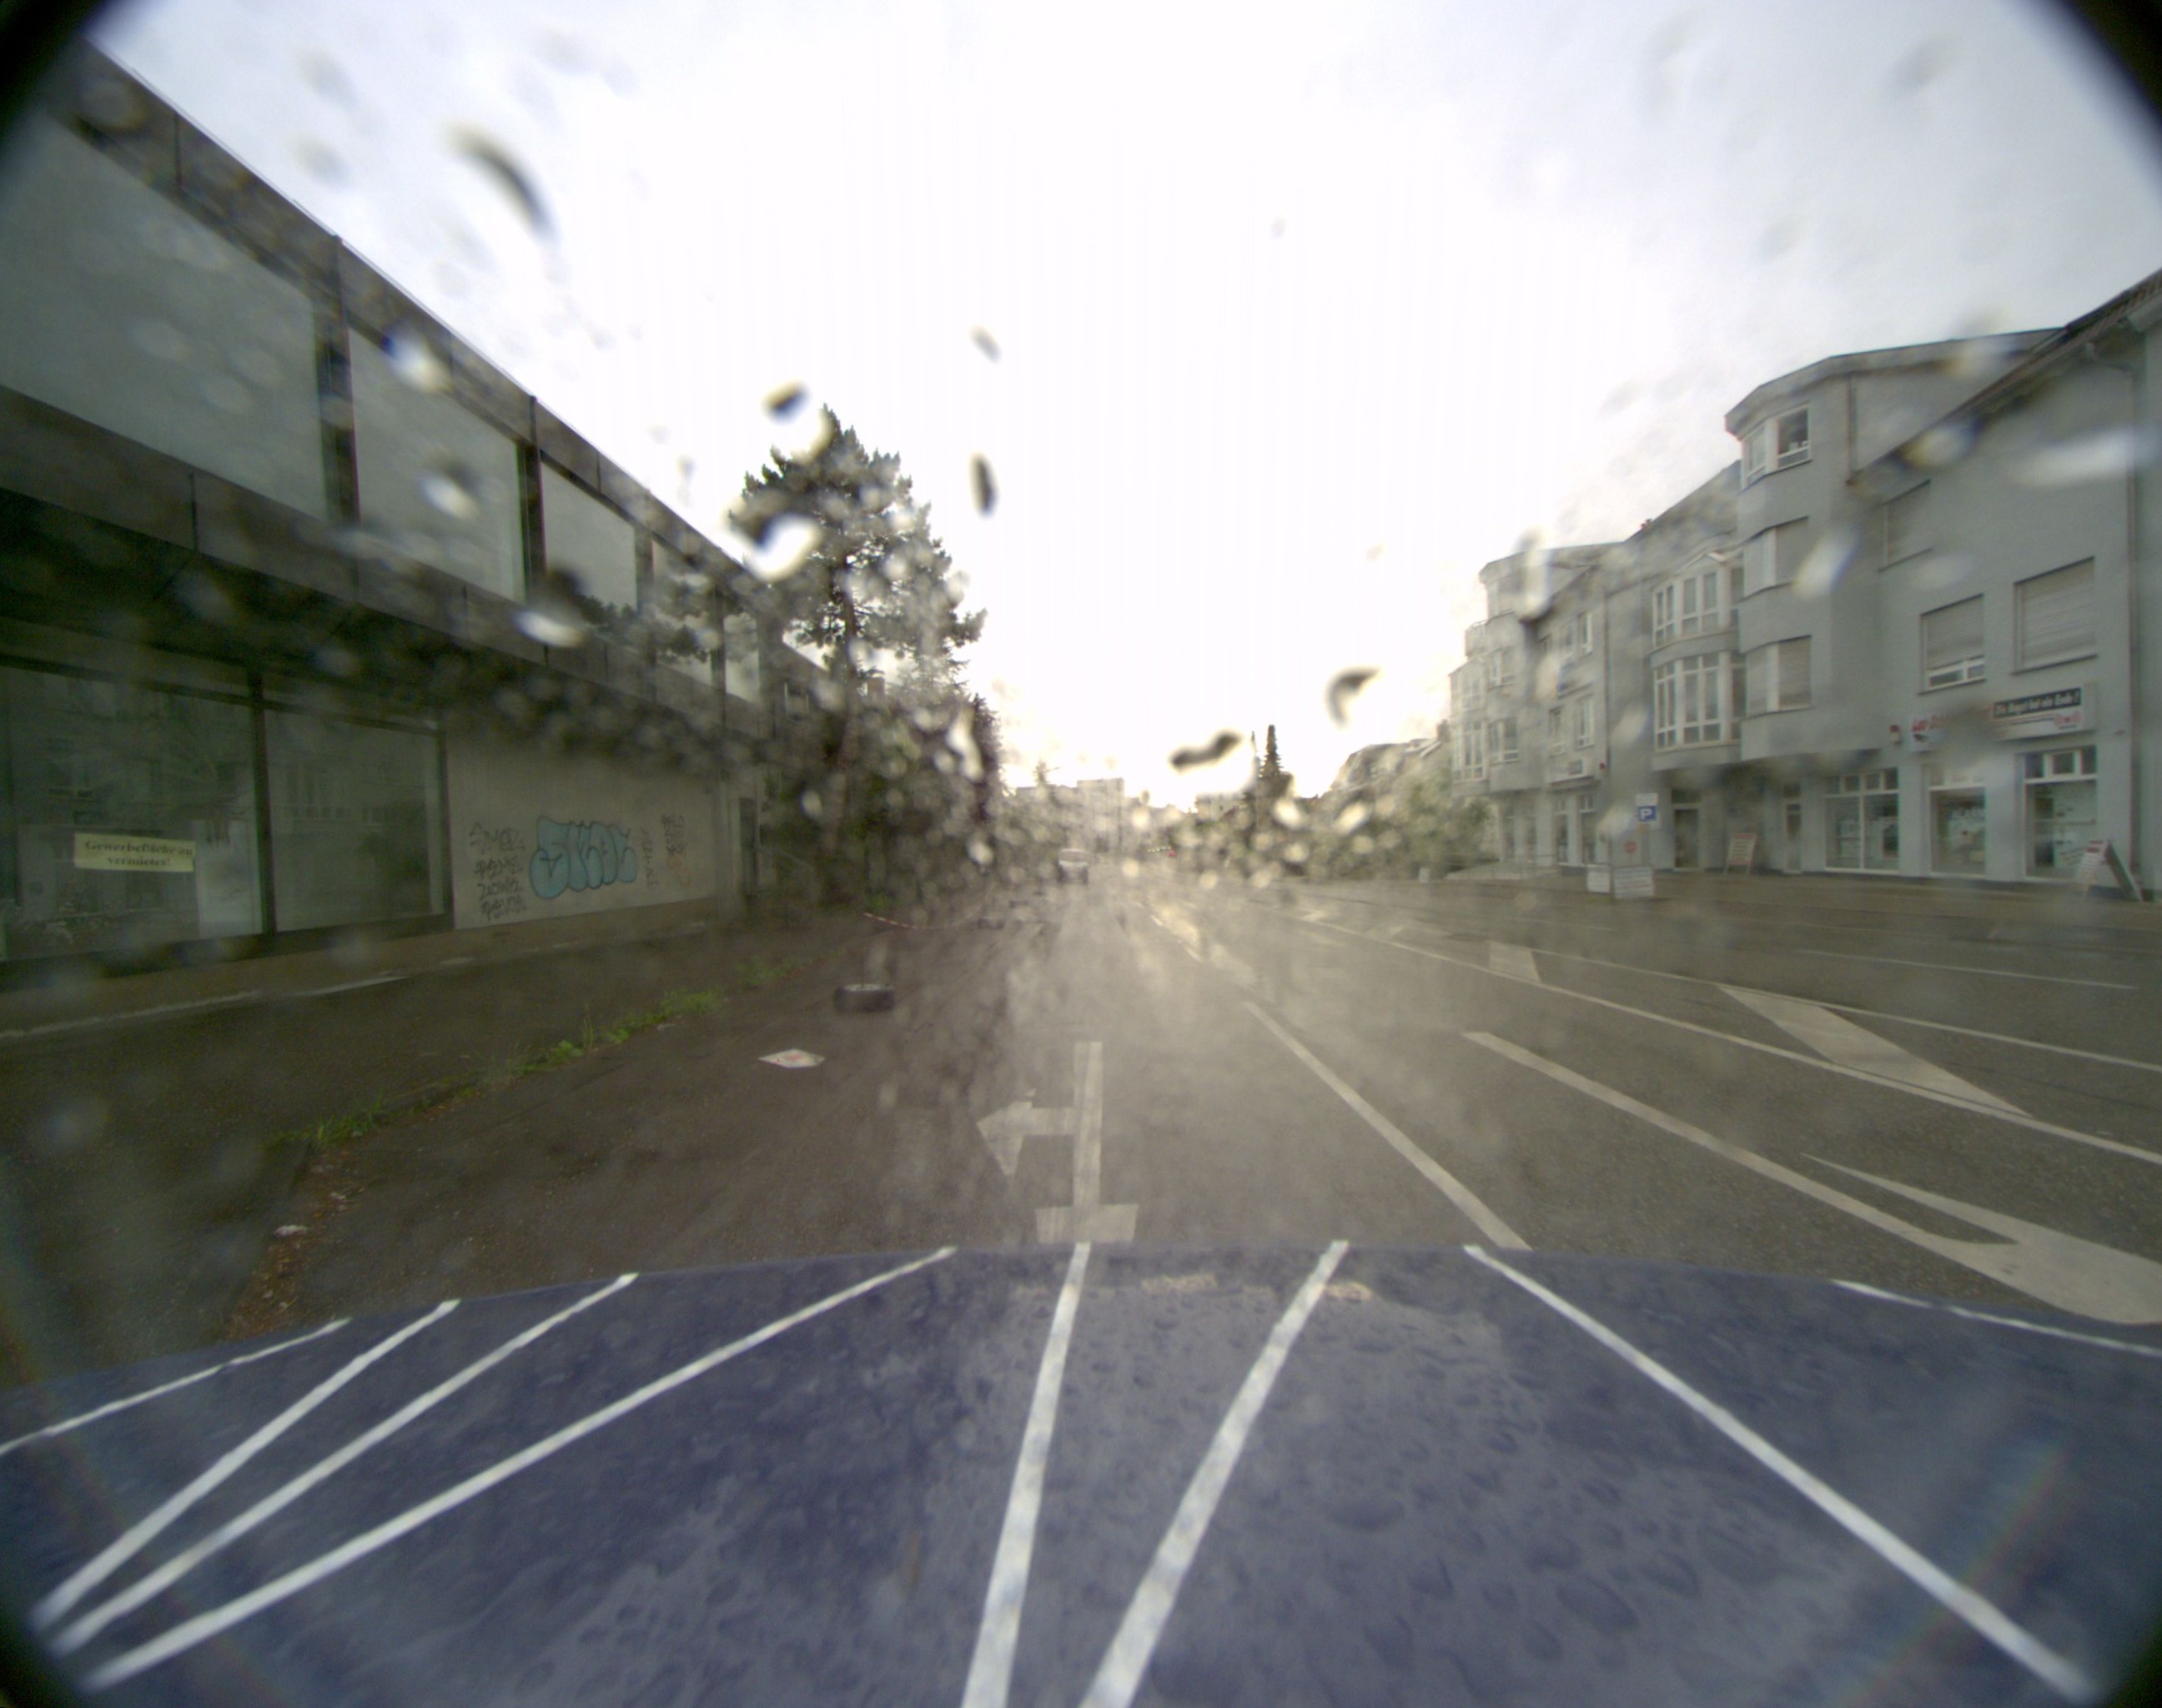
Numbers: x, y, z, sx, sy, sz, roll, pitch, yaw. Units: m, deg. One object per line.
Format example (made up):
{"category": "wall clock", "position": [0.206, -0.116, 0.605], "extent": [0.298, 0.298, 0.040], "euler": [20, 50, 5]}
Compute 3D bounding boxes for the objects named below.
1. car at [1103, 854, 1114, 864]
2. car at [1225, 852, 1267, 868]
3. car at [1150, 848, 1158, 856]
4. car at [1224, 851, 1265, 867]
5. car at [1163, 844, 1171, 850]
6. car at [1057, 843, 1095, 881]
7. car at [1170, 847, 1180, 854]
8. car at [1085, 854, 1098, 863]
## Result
{"category": "car", "position": [5.087, 0.870, 139.104], "extent": [1.835, 1.783, 3.838], "euler": [-3, 0, 3]}
{"category": "car", "position": [17.355, 0.626, 80.047], "extent": [4.155, 1.434, 1.891], "euler": [-3, 0, 8]}
{"category": "car", "position": [17.697, -0.606, 184.162], "extent": [1.851, 1.870, 4.122], "euler": [-1, 0, 5]}
{"category": "car", "position": [17.766, 0.552, 82.758], "extent": [4.114, 1.536, 2.001], "euler": [-3, 0, 6]}
{"category": "car", "position": [24.385, -1.959, 214.385], "extent": [1.850, 1.753, 4.124], "euler": [-1, 0, 11]}
{"category": "car", "position": [-0.290, 0.523, 51.421], "extent": [2.397, 2.417, 6.433], "euler": [-1, 0, 1]}
{"category": "car", "position": [22.291, -0.855, 180.470], "extent": [1.997, 1.606, 4.003], "euler": [-1, 0, 11]}
{"category": "car", "position": [1.849, 0.752, 133.756], "extent": [1.912, 1.622, 3.703], "euler": [-1, 0, 5]}
